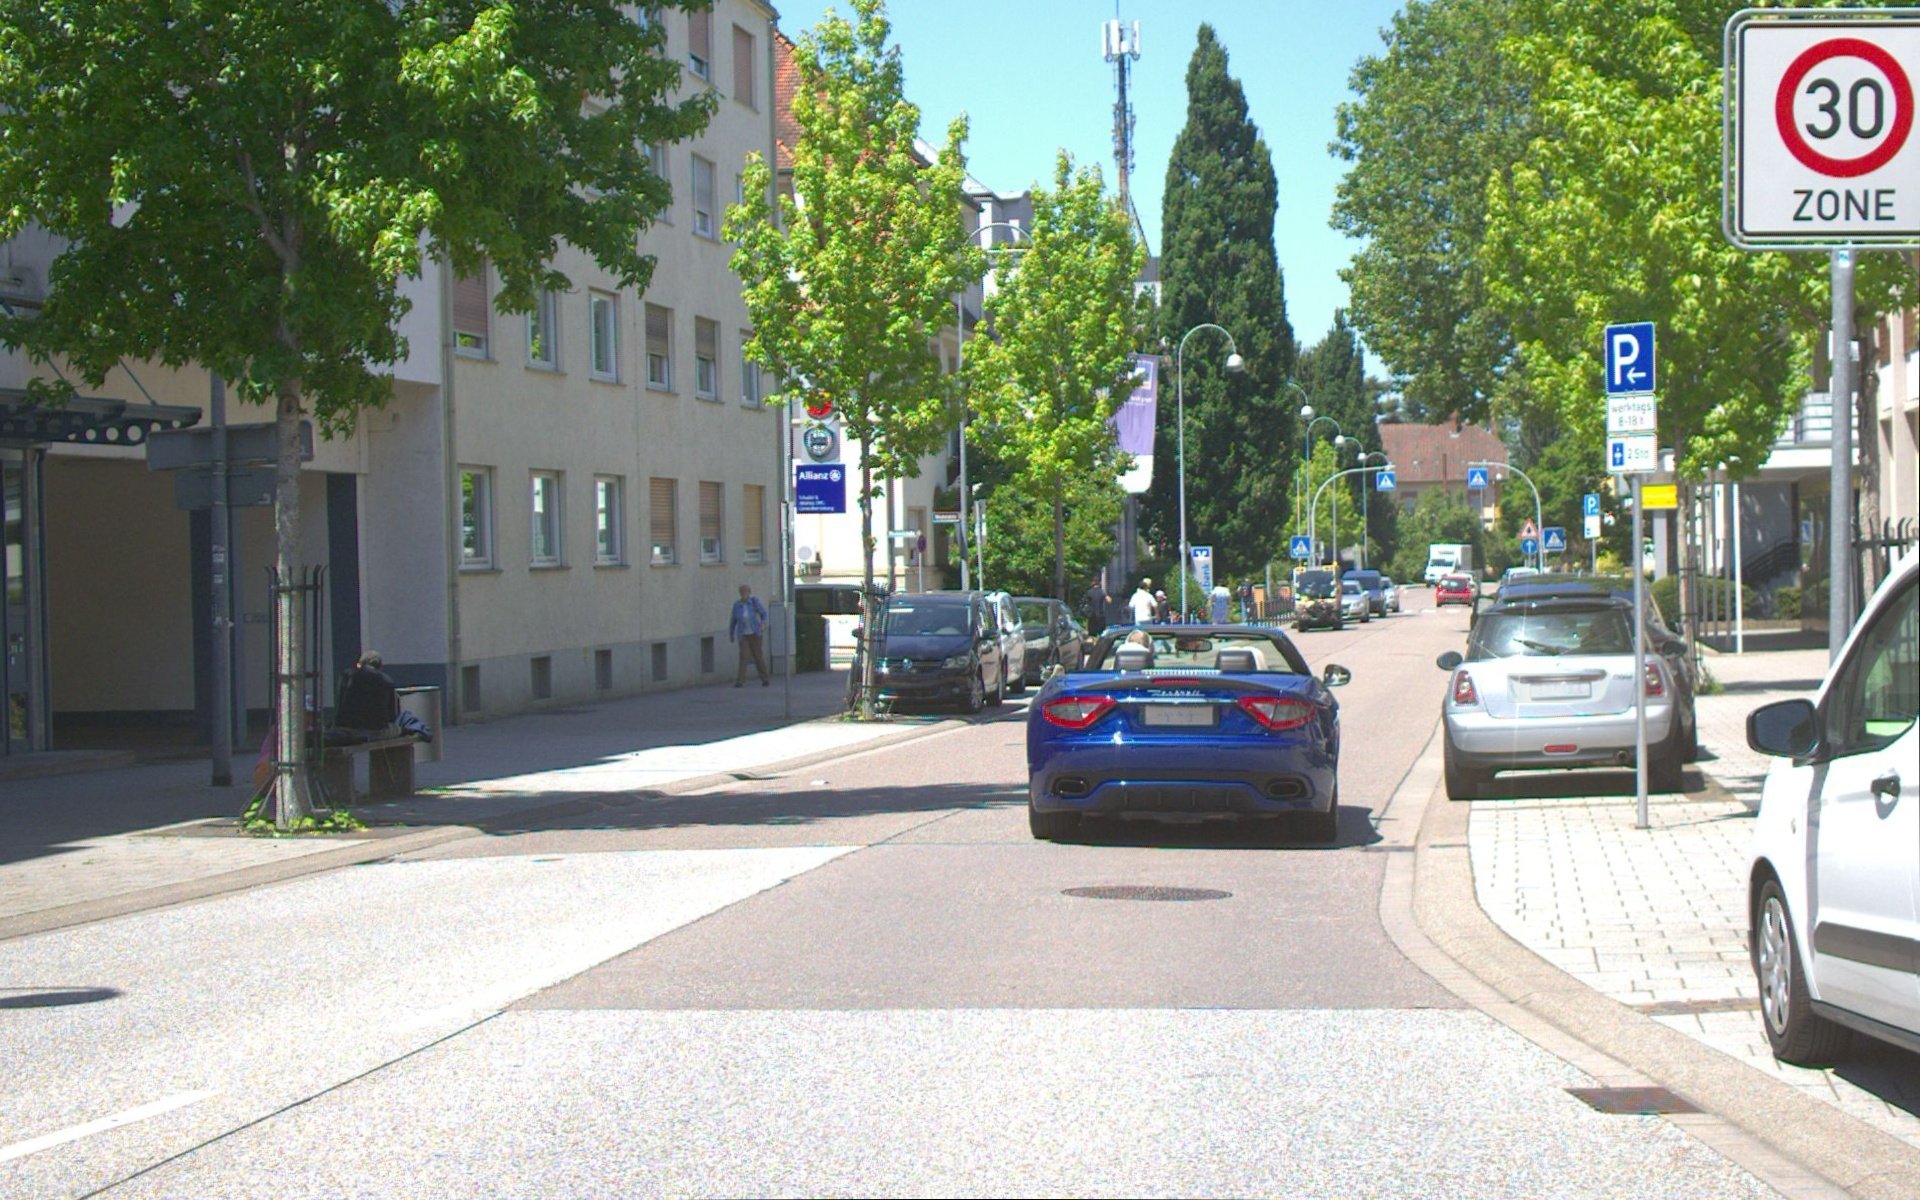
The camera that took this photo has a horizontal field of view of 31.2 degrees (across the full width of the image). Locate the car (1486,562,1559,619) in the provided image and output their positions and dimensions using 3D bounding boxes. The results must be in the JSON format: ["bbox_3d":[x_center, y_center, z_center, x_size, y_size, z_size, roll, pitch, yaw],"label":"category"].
[{"bbox_3d":[16.375,-0.297,100.100,1.977,1.445,4.348,-3,1,9],"label":"car"}]

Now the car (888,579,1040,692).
[{"bbox_3d":[0.105,0.521,54.037,1.824,1.614,4.391,0,1,8],"label":"car"}]

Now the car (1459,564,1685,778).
[{"bbox_3d":[5.438,0.567,30.746,1.765,1.700,4.703,-3,0,9],"label":"car"}]

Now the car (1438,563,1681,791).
[{"bbox_3d":[4.491,0.525,25.933,1.623,1.553,3.839,-2,0,9],"label":"car"}]

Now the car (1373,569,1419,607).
[{"bbox_3d":[18.437,-0.508,145.295,1.770,1.471,4.136,-3,1,9],"label":"car"}]

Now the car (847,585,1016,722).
[{"bbox_3d":[-0.345,0.711,48.384,1.729,1.734,4.391,2,1,8],"label":"car"}]

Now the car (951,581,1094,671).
[{"bbox_3d":[1.138,0.422,60.152,1.755,1.469,4.319,0,1,11],"label":"car"}]

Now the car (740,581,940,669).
[{"bbox_3d":[-2.556,0.519,73.725,4.061,1.816,1.759,0,1,8],"label":"car"}]

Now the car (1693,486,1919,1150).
[{"bbox_3d":[3.316,0.523,9.153,1.747,1.718,3.910,-3,0,-1],"label":"car"}]

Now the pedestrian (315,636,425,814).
[{"bbox_3d":[-4.671,0.987,27.241,0.568,1.367,0.666,-2,0,18],"label":"pedestrian"}]

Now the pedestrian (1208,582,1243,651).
[{"bbox_3d":[7.585,0.468,98.110,0.849,1.909,0.761,-3,2,8],"label":"pedestrian"}]

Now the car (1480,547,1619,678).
[{"bbox_3d":[9.385,0.164,54.519,1.994,1.792,4.567,-3,2,11],"label":"car"}]

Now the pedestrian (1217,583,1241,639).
[{"bbox_3d":[7.669,0.319,98.034,0.587,1.569,0.781,-1,0,8],"label":"pedestrian"}]

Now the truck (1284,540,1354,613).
[{"bbox_3d":[11.181,-0.748,106.824,1.805,2.110,4.713,-3,1,9],"label":"truck"}]

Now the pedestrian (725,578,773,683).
[{"bbox_3d":[-3.522,0.505,57.243,0.655,1.674,0.631,-3,2,-8],"label":"pedestrian"}]

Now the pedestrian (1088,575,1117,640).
[{"bbox_3d":[3.277,0.176,79.025,0.579,1.469,0.564,-1,0,7],"label":"pedestrian"}]

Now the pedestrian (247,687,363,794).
[{"bbox_3d":[-5.390,1.158,28.303,0.665,0.855,0.732,-2,-4,18],"label":"pedestrian"}]

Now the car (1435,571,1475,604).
[{"bbox_3d":[22.844,-0.595,158.587,1.770,1.471,4.136,-1,0,9],"label":"car"}]

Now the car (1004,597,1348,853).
[{"bbox_3d":[1.401,0.731,22.318,1.976,1.393,4.626,-1,1,4],"label":"car"}]
